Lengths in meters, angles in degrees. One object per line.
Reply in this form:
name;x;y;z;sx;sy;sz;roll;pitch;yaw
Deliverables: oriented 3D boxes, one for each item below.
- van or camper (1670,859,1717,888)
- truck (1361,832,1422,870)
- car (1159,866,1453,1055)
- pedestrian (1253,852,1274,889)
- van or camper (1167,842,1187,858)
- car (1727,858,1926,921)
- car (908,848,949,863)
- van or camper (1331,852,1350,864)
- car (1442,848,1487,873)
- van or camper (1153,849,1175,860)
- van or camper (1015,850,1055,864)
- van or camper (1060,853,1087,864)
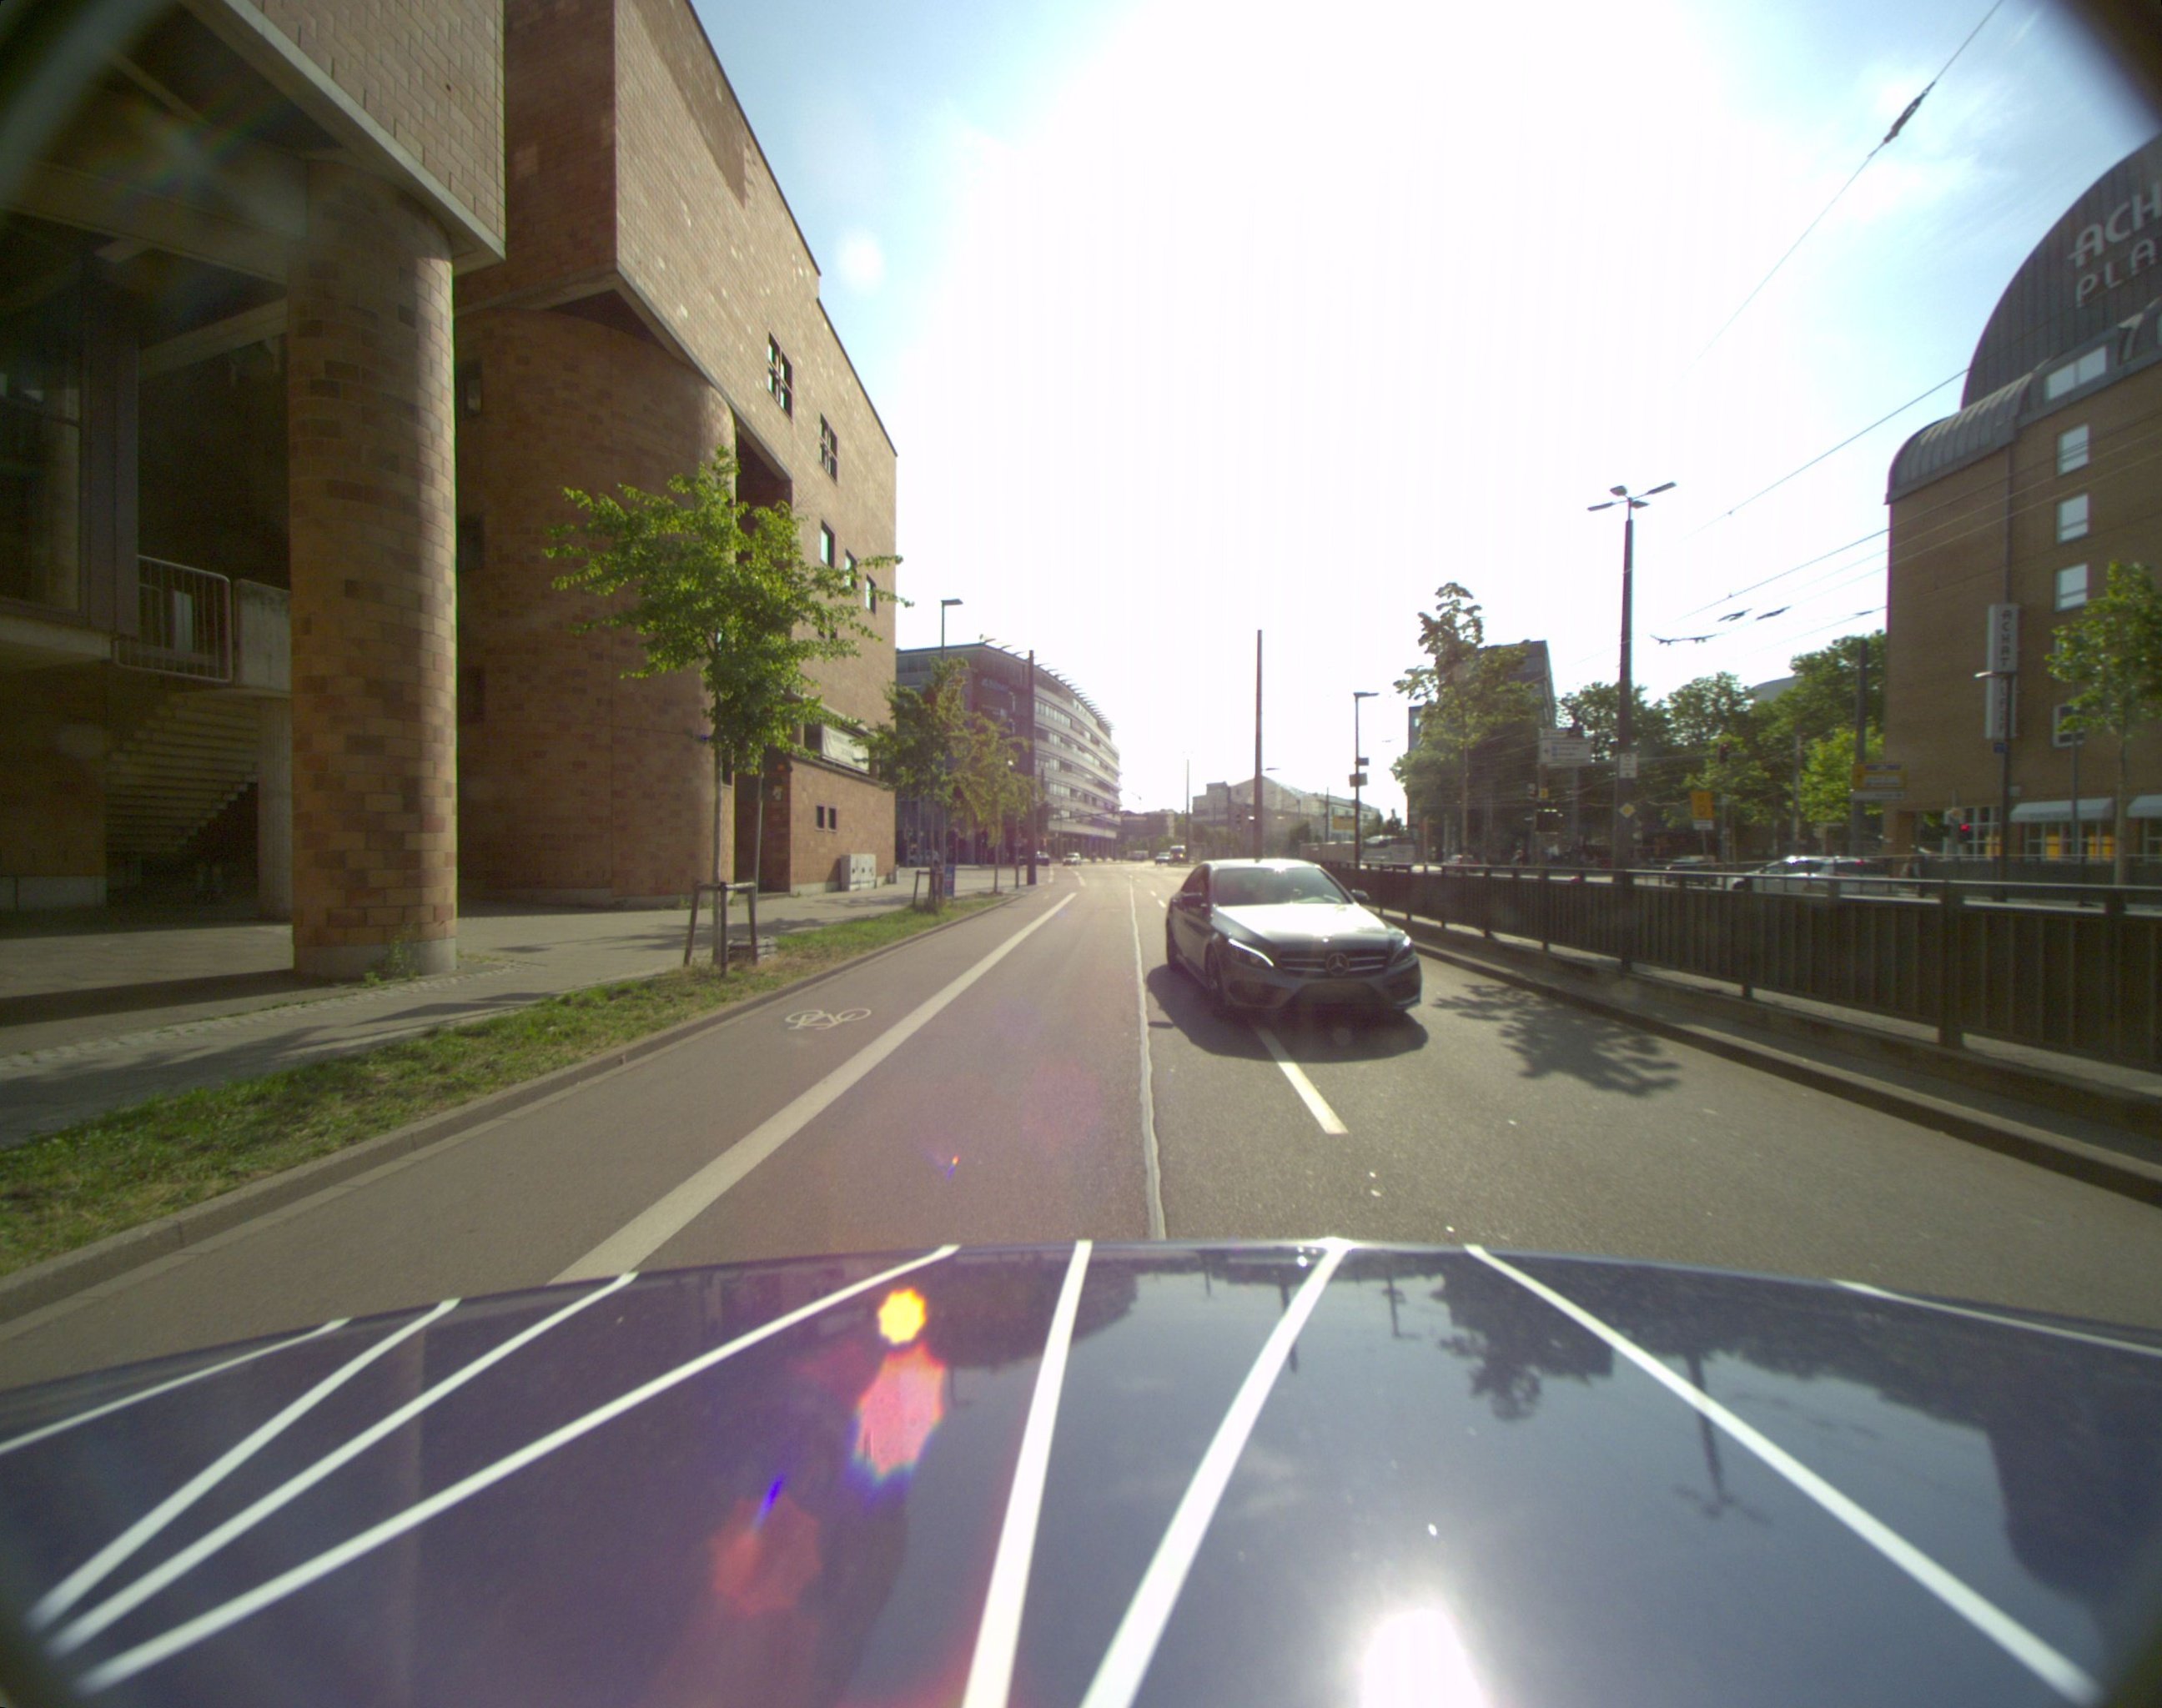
van or camper;35.081;1.061;43.483;1.923;1.528;4.009;1;1;41
truck;34.052;-0.348;83.846;3.166;3.755;12.366;1;0;8
car;2.033;0.894;8.232;1.907;1.384;4.235;-1;1;0
pedestrian;8.133;0.714;33.849;0.582;1.624;0.645;0;1;-30
van or camper;13.350;-0.507;105.451;1.931;2.198;3.992;1;1;18
car;21.524;0.954;22.218;1.998;1.608;4.025;1;1;4
car;-15.570;0.152;77.554;4.002;1.521;1.997;1;1;-14
van or camper;33.863;0.510;99.391;1.843;1.543;4.004;1;1;12
car;31.686;0.488;62.907;1.997;2.002;4.002;1;1;7
van or camper;10.321;0.088;93.808;1.931;1.305;3.992;1;1;18
van or camper;-4.917;0.297;81.326;1.994;1.434;4.223;1;1;36
van or camper;-0.881;0.545;92.335;1.930;1.305;3.993;1;1;23
